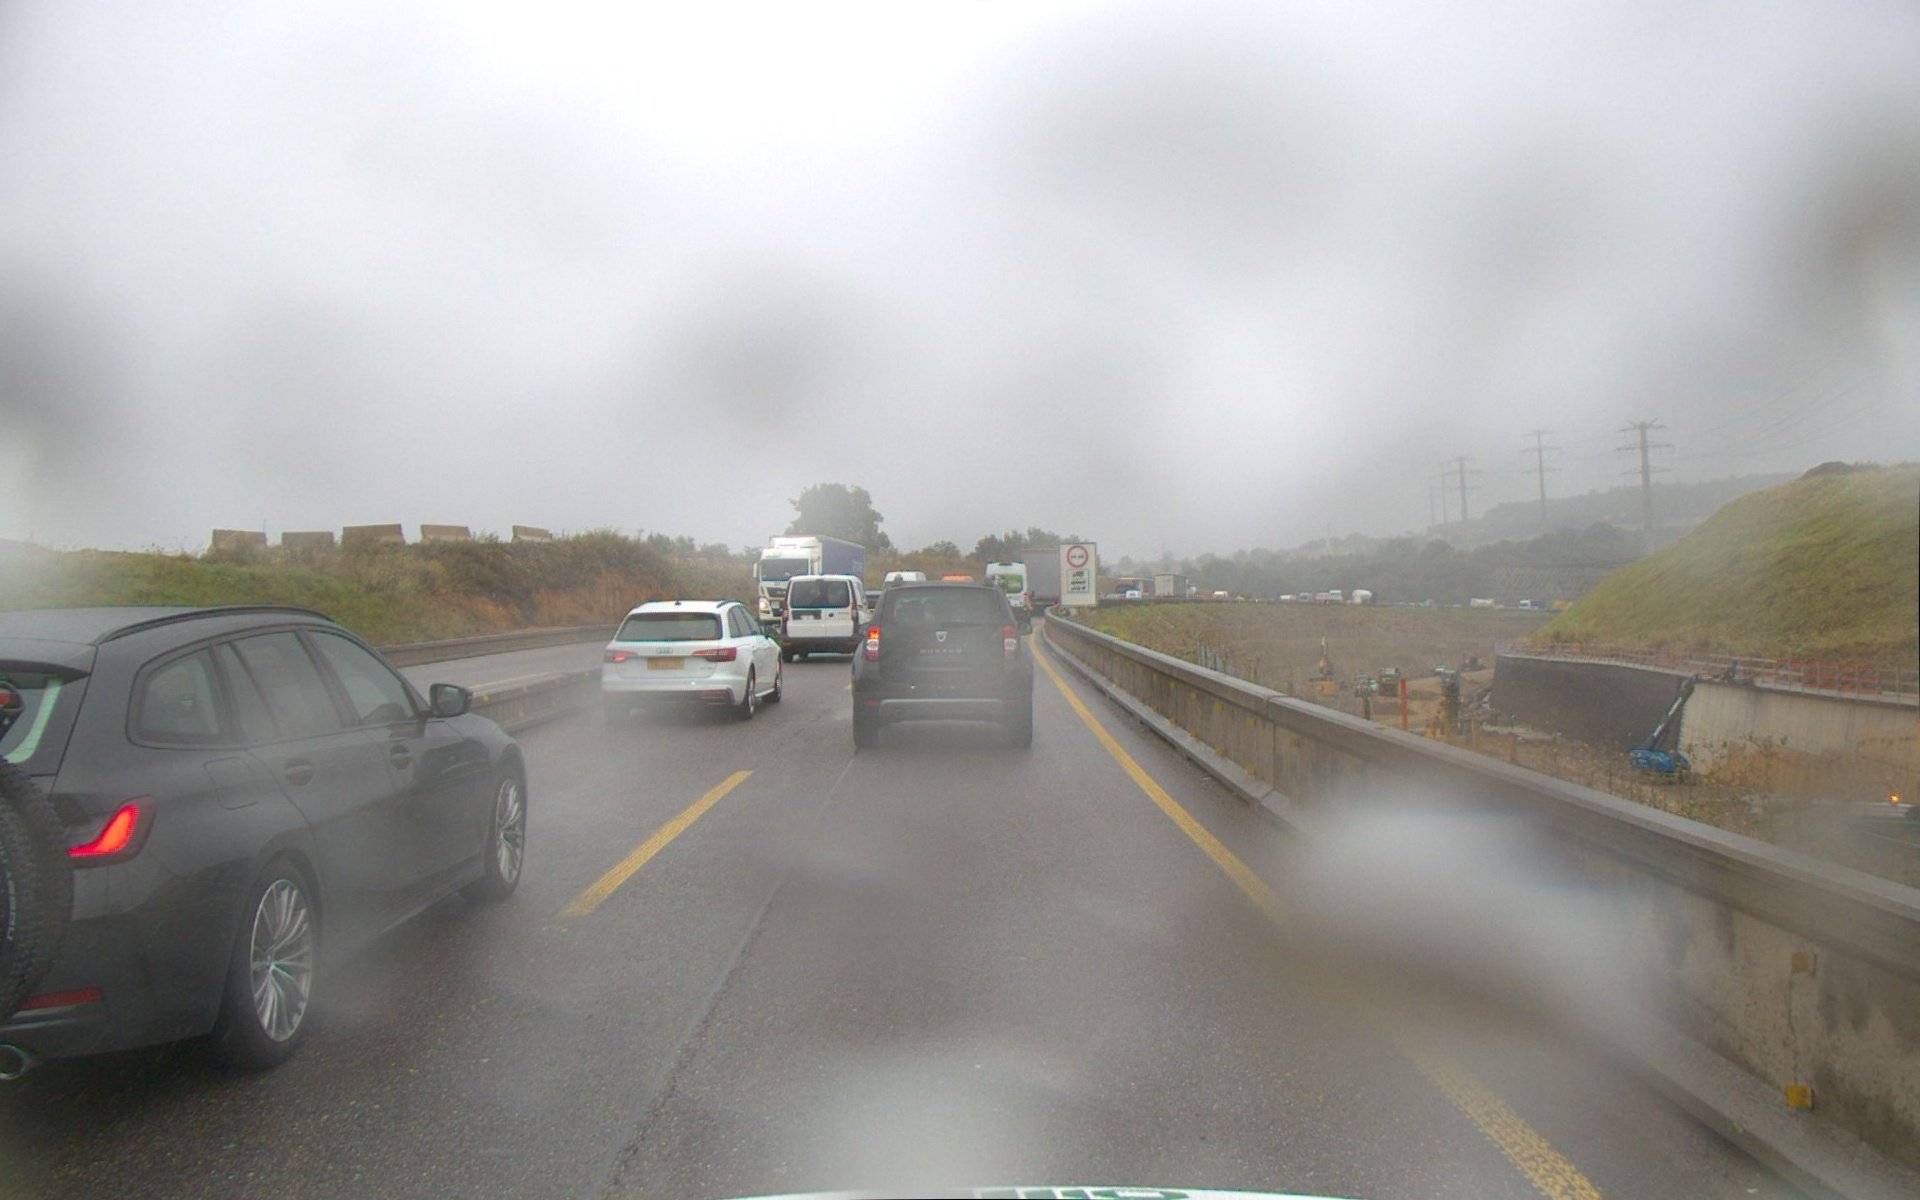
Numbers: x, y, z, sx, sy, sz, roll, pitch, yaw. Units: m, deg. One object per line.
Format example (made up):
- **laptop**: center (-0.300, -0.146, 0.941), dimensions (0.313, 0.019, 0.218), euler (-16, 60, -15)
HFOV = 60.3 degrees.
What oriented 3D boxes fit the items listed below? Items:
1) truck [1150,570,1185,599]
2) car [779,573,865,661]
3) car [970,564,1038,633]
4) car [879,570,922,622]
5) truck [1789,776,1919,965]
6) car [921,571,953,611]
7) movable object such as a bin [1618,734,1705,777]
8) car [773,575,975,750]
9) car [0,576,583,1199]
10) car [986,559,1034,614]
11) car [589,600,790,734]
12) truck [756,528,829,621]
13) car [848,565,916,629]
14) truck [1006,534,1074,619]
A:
- **truck**: center (28.017, -2.152, 223.345), dimensions (3.398, 3.780, 8.424), euler (-1, 1, 16)
- **car**: center (-3.021, 0.368, 36.585), dimensions (1.790, 1.847, 3.997), euler (0, 0, -4)
- **car**: center (1.265, -0.028, 46.283), dimensions (1.788, 1.847, 4.001), euler (0, 0, 3)
- **car**: center (-3.218, -0.255, 90.262), dimensions (1.964, 2.700, 6.886), euler (0, 1, 1)
- **truck**: center (23.086, 6.447, 39.459), dimensions (2.672, 3.552, 9.070), euler (0, 0, 4)
- **car**: center (-1.555, -0.644, 112.988), dimensions (2.012, 2.622, 7.021), euler (0, 1, 0)
- **movable object such as a bin**: center (37.280, 8.252, 87.959), dimensions (1.978, 2.049, 3.791), euler (3, -4, -36)
- **car**: center (-0.780, 0.595, 17.320), dimensions (1.788, 1.619, 4.001), euler (0, 0, 2)
- **car**: center (-2.910, 0.711, 6.213), dimensions (1.699, 1.488, 5.630), euler (0, 2, 0)
- **car**: center (2.344, -0.604, 76.406), dimensions (1.787, 2.480, 4.161), euler (0, 0, 7)
- **car**: center (-3.294, 0.780, 20.886), dimensions (1.788, 1.525, 4.001), euler (0, 0, 1)
- **truck**: center (-7.637, -1.185, 76.072), dimensions (2.731, 4.105, 5.820), euler (0, 1, 1)
- **car**: center (-2.325, -0.080, 50.174), dimensions (1.788, 1.847, 4.001), euler (0, 0, 2)
- **truck**: center (5.223, -1.380, 105.400), dimensions (3.468, 5.166, 10.449), euler (0, 0, 7)
